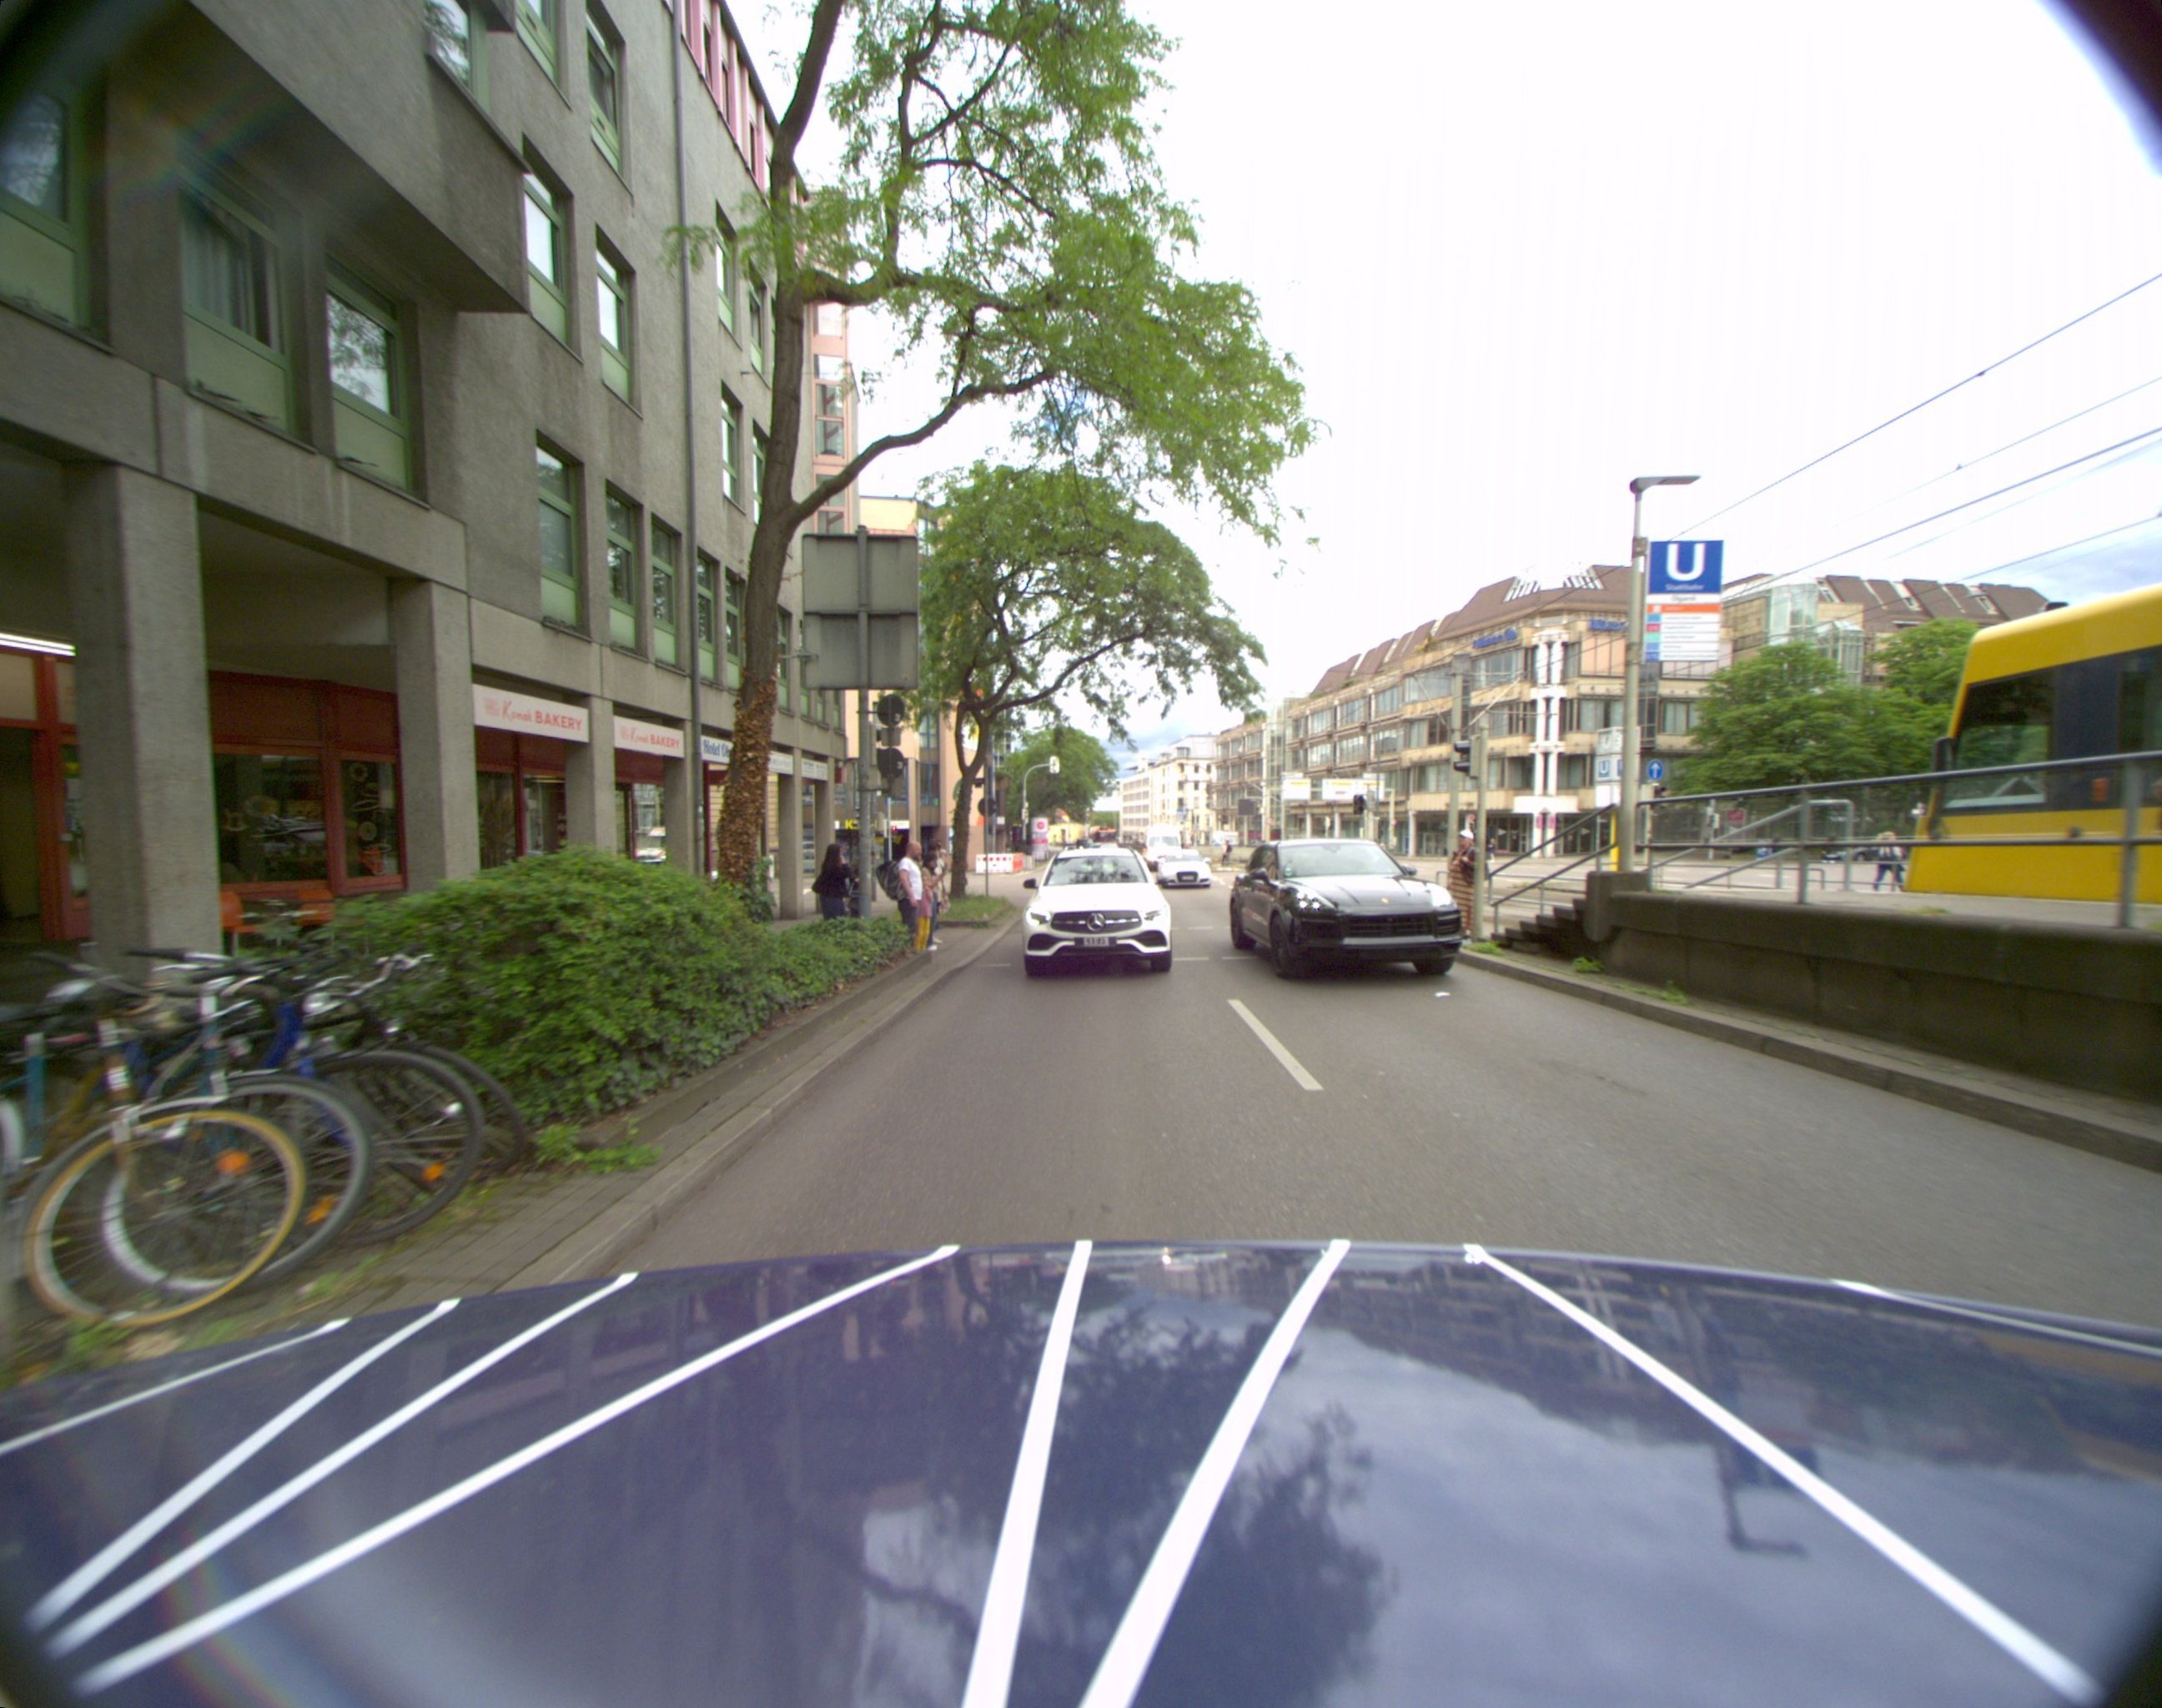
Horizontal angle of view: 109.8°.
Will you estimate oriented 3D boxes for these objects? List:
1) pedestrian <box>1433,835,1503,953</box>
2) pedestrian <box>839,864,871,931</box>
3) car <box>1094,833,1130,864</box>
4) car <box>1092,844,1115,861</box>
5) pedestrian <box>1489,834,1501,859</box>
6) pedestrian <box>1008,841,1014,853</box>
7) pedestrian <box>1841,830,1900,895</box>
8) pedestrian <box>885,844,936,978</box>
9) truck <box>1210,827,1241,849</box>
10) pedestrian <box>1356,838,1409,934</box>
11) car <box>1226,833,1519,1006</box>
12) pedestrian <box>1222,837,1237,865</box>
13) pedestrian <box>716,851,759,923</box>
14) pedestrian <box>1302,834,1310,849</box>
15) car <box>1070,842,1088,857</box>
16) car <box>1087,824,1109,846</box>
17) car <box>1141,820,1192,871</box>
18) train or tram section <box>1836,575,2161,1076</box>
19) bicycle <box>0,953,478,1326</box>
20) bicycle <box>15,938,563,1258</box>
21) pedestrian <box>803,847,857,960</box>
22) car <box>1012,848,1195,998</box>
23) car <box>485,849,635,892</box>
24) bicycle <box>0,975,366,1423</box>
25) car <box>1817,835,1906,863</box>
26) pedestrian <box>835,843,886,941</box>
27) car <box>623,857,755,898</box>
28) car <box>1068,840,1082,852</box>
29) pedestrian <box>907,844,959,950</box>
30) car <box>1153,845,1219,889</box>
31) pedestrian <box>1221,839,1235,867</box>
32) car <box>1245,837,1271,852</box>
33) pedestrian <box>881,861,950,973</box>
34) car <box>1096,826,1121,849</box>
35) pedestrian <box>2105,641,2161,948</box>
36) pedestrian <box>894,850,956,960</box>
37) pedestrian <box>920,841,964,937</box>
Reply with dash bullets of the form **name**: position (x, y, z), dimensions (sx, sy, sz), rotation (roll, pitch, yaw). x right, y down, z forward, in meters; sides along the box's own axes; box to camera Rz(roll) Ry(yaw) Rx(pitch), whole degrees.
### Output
- **pedestrian**: position (5.770, 0.582, 11.371), dimensions (0.687, 1.701, 0.711), rotation (-1, 1, 1)
- **pedestrian**: position (-4.617, 0.875, 15.563), dimensions (0.472, 1.326, 0.519), rotation (-2, 2, -3)
- **car**: position (2.293, -0.470, 57.245), dimensions (2.503, 2.145, 5.726), rotation (-2, 2, 1)
- **car**: position (2.082, -0.159, 72.103), dimensions (1.950, 1.522, 3.998), rotation (-2, 2, -1)
- **pedestrian**: position (29.590, -0.505, 54.289), dimensions (0.511, 1.770, 0.577), rotation (-1, 2, 3)
- **pedestrian**: position (-9.394, -0.941, 101.993), dimensions (0.711, 1.701, 0.687), rotation (-1, 1, 1)
- **pedestrian**: position (20.945, 0.212, 20.179), dimensions (0.875, 1.696, 0.814), rotation (0, 2, 30)
- **pedestrian**: position (-2.369, 0.764, 10.615), dimensions (0.520, 1.779, 0.764), rotation (-2, 2, -3)
- **truck**: position (21.147, -2.405, 111.567), dimensions (2.273, 3.059, 7.368), rotation (1, 2, -6)
- **pedestrian**: position (5.555, 0.568, 14.021), dimensions (0.637, 1.701, 0.871), rotation (-1, 1, 1)
- **car**: position (3.355, 0.619, 10.103), dimensions (2.087, 1.665, 5.352), rotation (-1, 1, 3)
- **pedestrian**: position (9.209, -0.216, 47.067), dimensions (0.794, 1.712, 0.772), rotation (-1, 2, 0)
- **pedestrian**: position (-8.584, 0.819, 19.030), dimensions (0.857, 1.702, 1.124), rotation (-3, 0, -21)
- **pedestrian**: position (27.434, -1.587, 92.642), dimensions (0.732, 1.801, 0.739), rotation (-2, 2, -5)
- **car**: position (-0.282, -0.538, 87.132), dimensions (1.950, 1.522, 3.998), rotation (-2, 2, -1)
- **car**: position (2.275, -2.611, 104.137), dimensions (2.504, 2.793, 5.724), rotation (-2, 2, -4)
- **car**: position (5.021, -0.560, 45.514), dimensions (2.281, 2.744, 5.938), rotation (-2, 2, 0)
- **train or tram section**: position (9.302, -0.230, 5.083), dimensions (2.842, 3.658, 5.751), rotation (-2, 1, 1)
- **bicycle**: position (-3.286, 0.985, 2.774), dimensions (1.713, 1.177, 0.448), rotation (1, 1, -7)
- **bicycle**: position (-3.255, 0.982, 3.233), dimensions (1.713, 1.177, 0.448), rotation (1, 1, -7)
- **pedestrian**: position (-3.676, 0.710, 11.176), dimensions (0.618, 1.602, 0.764), rotation (1, -1, -10)
- **car**: position (0.105, 0.779, 10.815), dimensions (2.061, 1.599, 3.923), rotation (-2, 2, -6)
- **car**: position (-19.871, 0.588, 29.179), dimensions (4.270, 1.481, 1.998), rotation (-1, 1, -11)
- **bicycle**: position (-3.294, 0.991, 2.299), dimensions (1.713, 1.177, 0.448), rotation (1, 1, -7)
- **car**: position (46.433, -0.336, 45.235), dimensions (4.002, 1.522, 1.948), rotation (-2, 2, -15)
- **pedestrian**: position (-4.180, 0.720, 14.468), dimensions (0.723, 1.792, 0.834), rotation (1, -1, -3)
- **car**: position (-15.049, 0.867, 29.404), dimensions (4.162, 1.420, 1.852), rotation (-1, 1, -11)
- **car**: position (-0.844, -1.157, 106.262), dimensions (1.950, 1.522, 3.998), rotation (-2, 2, -1)
- **pedestrian**: position (-2.580, 0.727, 13.306), dimensions (0.695, 1.767, 0.689), rotation (4, 1, -4)
- **car**: position (4.126, 0.458, 30.558), dimensions (1.950, 1.522, 3.998), rotation (-2, 2, -2)
- **pedestrian**: position (9.220, -0.068, 47.791), dimensions (0.766, 1.712, 0.637), rotation (-1, 2, 0)
- **car**: position (22.334, -1.239, 96.188), dimensions (1.678, 1.749, 4.778), rotation (-2, 2, -6)
- **pedestrian**: position (-2.432, 0.911, 11.255), dimensions (0.838, 1.554, 0.764), rotation (-2, 2, -3)
- **car**: position (3.500, -2.175, 97.365), dimensions (2.504, 2.793, 5.724), rotation (-2, 2, -4)
- **pedestrian**: position (6.420, -0.338, 4.144), dimensions (0.719, 1.721, 0.670), rotation (-2, 2, 2)
- **pedestrian**: position (-2.486, 0.788, 12.156), dimensions (0.838, 1.694, 0.764), rotation (1, 1, -3)
- **pedestrian**: position (-2.766, 0.677, 15.194), dimensions (0.736, 1.864, 0.733), rotation (-1, 2, -3)
